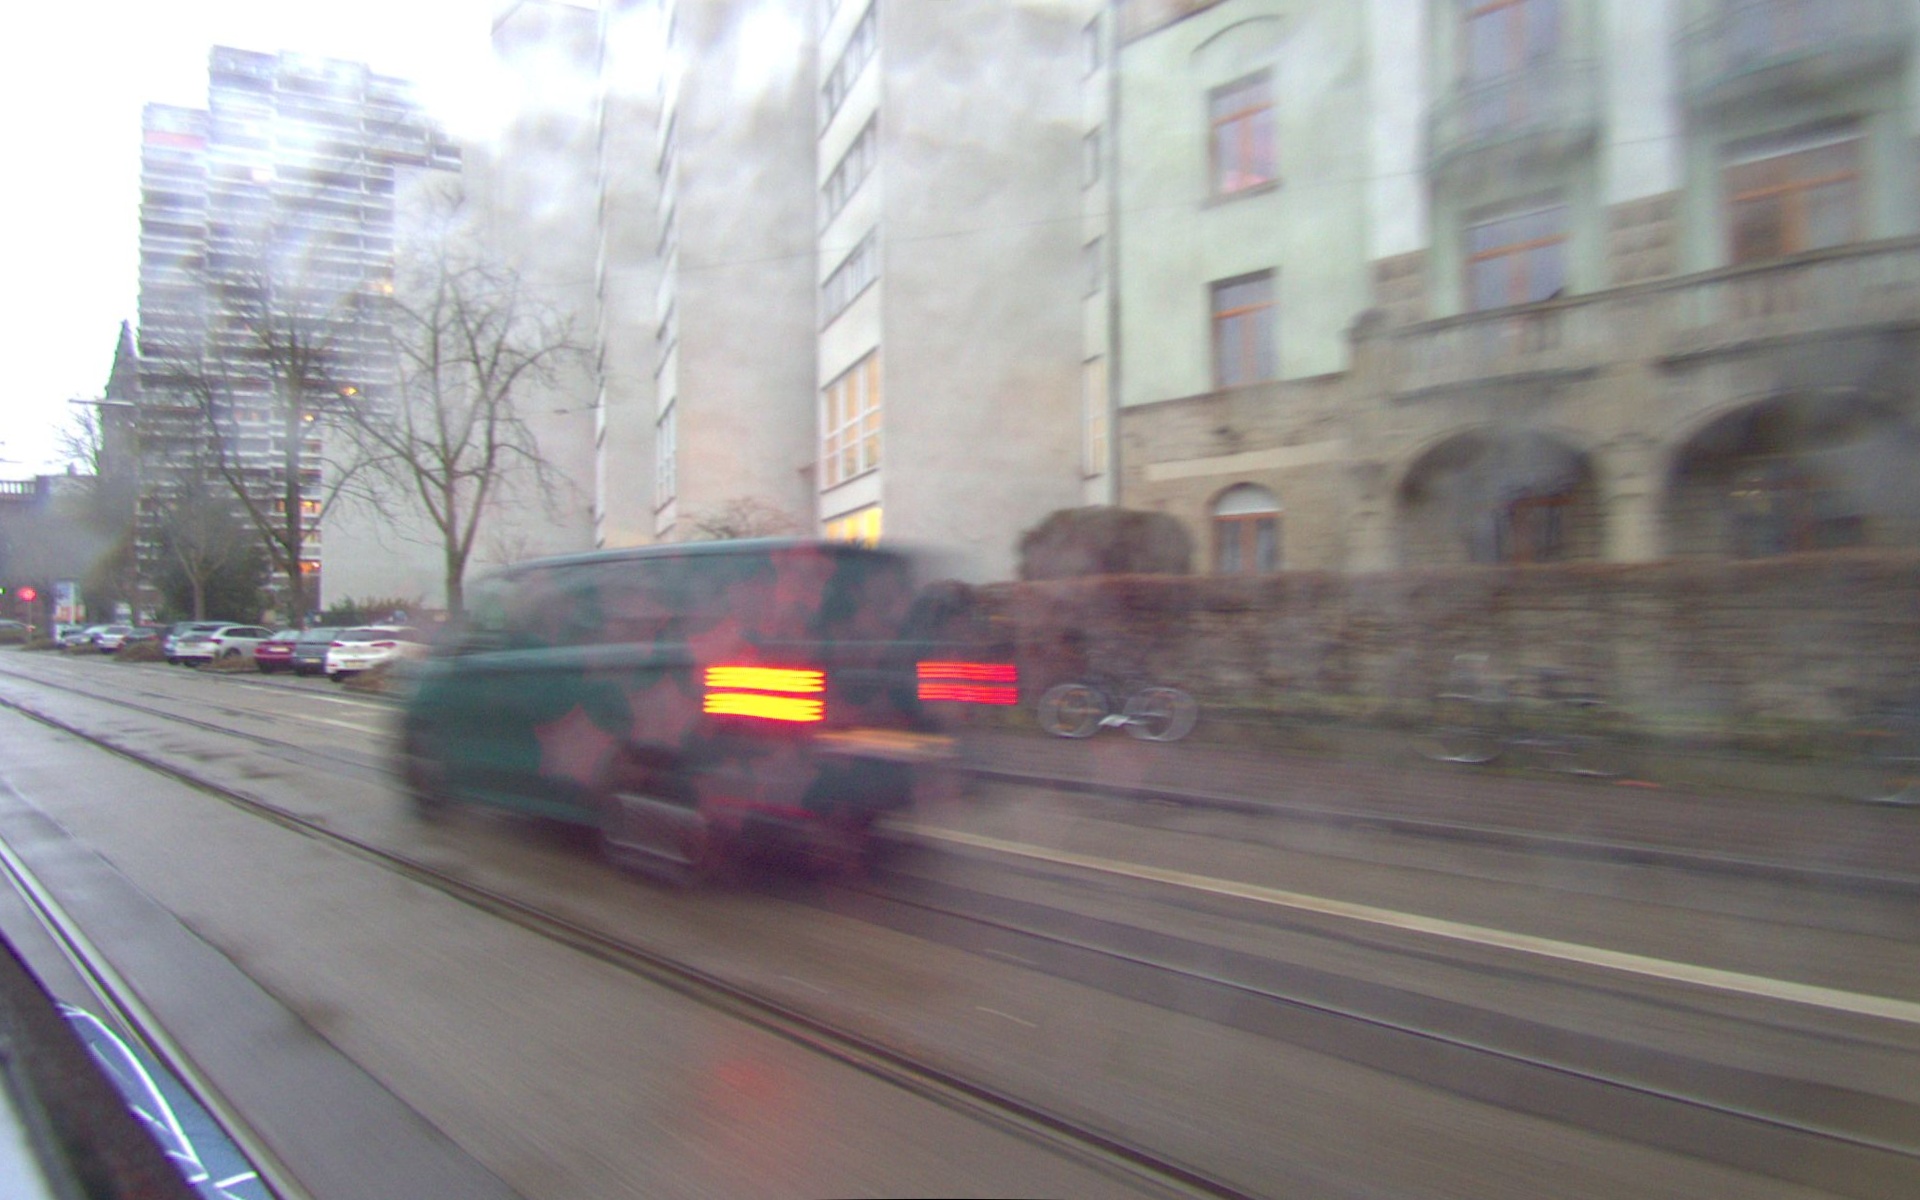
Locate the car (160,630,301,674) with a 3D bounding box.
[{"bbox_3d":[-25.549,1.797,35.621,1.716,1.455,3.990,1,-2,8],"label":"car"}]

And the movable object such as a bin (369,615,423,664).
[{"bbox_3d":[-22.556,1.591,40.473,1.317,1.874,1.553,-4,-4,42],"label":"movable object such as a bin"}]

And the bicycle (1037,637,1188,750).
[{"bbox_3d":[1.754,1.051,11.751,1.593,1.222,0.686,-2,-3,36],"label":"bicycle"}]

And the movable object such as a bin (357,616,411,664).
[{"bbox_3d":[-23.583,1.644,41.416,1.393,1.874,1.553,-4,-4,42],"label":"movable object such as a bin"}]

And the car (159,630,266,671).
[{"bbox_3d":[-30.223,2.025,41.072,1.668,1.563,3.879,0,-2,-4],"label":"car"}]

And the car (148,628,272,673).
[{"bbox_3d":[-27.908,1.853,37.835,1.712,1.575,4.000,0,-2,-1],"label":"car"}]

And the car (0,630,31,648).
[{"bbox_3d":[-78.483,3.167,82.533,3.939,1.497,1.673,2,-3,-43],"label":"car"}]

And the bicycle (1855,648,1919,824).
[{"bbox_3d":[7.388,0.944,7.043,1.591,1.222,0.687,-2,-3,32],"label":"bicycle"}]

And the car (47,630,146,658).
[{"bbox_3d":[-45.194,2.282,53.103,1.829,1.389,4.000,0,-2,-1],"label":"car"}]

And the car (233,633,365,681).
[{"bbox_3d":[-20.572,1.755,31.723,1.722,1.362,4.354,1,-2,-7],"label":"car"}]

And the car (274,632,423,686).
[{"bbox_3d":[-18.131,1.726,30.228,1.715,1.474,3.992,1,-2,6],"label":"car"}]

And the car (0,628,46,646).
[{"bbox_3d":[-80.200,3.100,85.780,3.939,1.497,1.673,2,-3,-43],"label":"car"}]

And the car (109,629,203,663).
[{"bbox_3d":[-37.778,2.148,47.632,1.705,1.504,3.451,0,-2,-1],"label":"car"}]

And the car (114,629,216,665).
[{"bbox_3d":[-35.338,2.077,45.109,1.671,1.504,3.856,0,-2,-3],"label":"car"}]

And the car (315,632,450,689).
[{"bbox_3d":[-15.577,1.605,27.517,1.710,1.434,3.856,0,-2,-5],"label":"car"}]

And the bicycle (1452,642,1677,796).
[{"bbox_3d":[5.182,0.980,8.757,1.591,1.222,0.624,-2,-3,32],"label":"bicycle"}]

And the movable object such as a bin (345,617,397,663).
[{"bbox_3d":[-24.625,1.690,42.347,1.317,1.874,1.553,-4,-4,42],"label":"movable object such as a bin"}]

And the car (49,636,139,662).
[{"bbox_3d":[-49.868,2.795,58.364,1.829,1.410,4.000,0,-2,-1],"label":"car"}]

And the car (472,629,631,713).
[{"bbox_3d":[-7.946,1.326,20.098,1.804,1.482,4.003,0,-2,-4],"label":"car"}]

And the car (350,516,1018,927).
[{"bbox_3d":[-2.239,0.675,7.200,5.095,1.937,2.025,-2,-3,40],"label":"car"}]

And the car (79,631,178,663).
[{"bbox_3d":[-40.383,2.268,49.289,1.765,1.457,4.004,0,-2,-5],"label":"car"}]

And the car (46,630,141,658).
[{"bbox_3d":[-47.828,2.419,55.971,1.829,1.474,4.000,0,-2,-1],"label":"car"}]
